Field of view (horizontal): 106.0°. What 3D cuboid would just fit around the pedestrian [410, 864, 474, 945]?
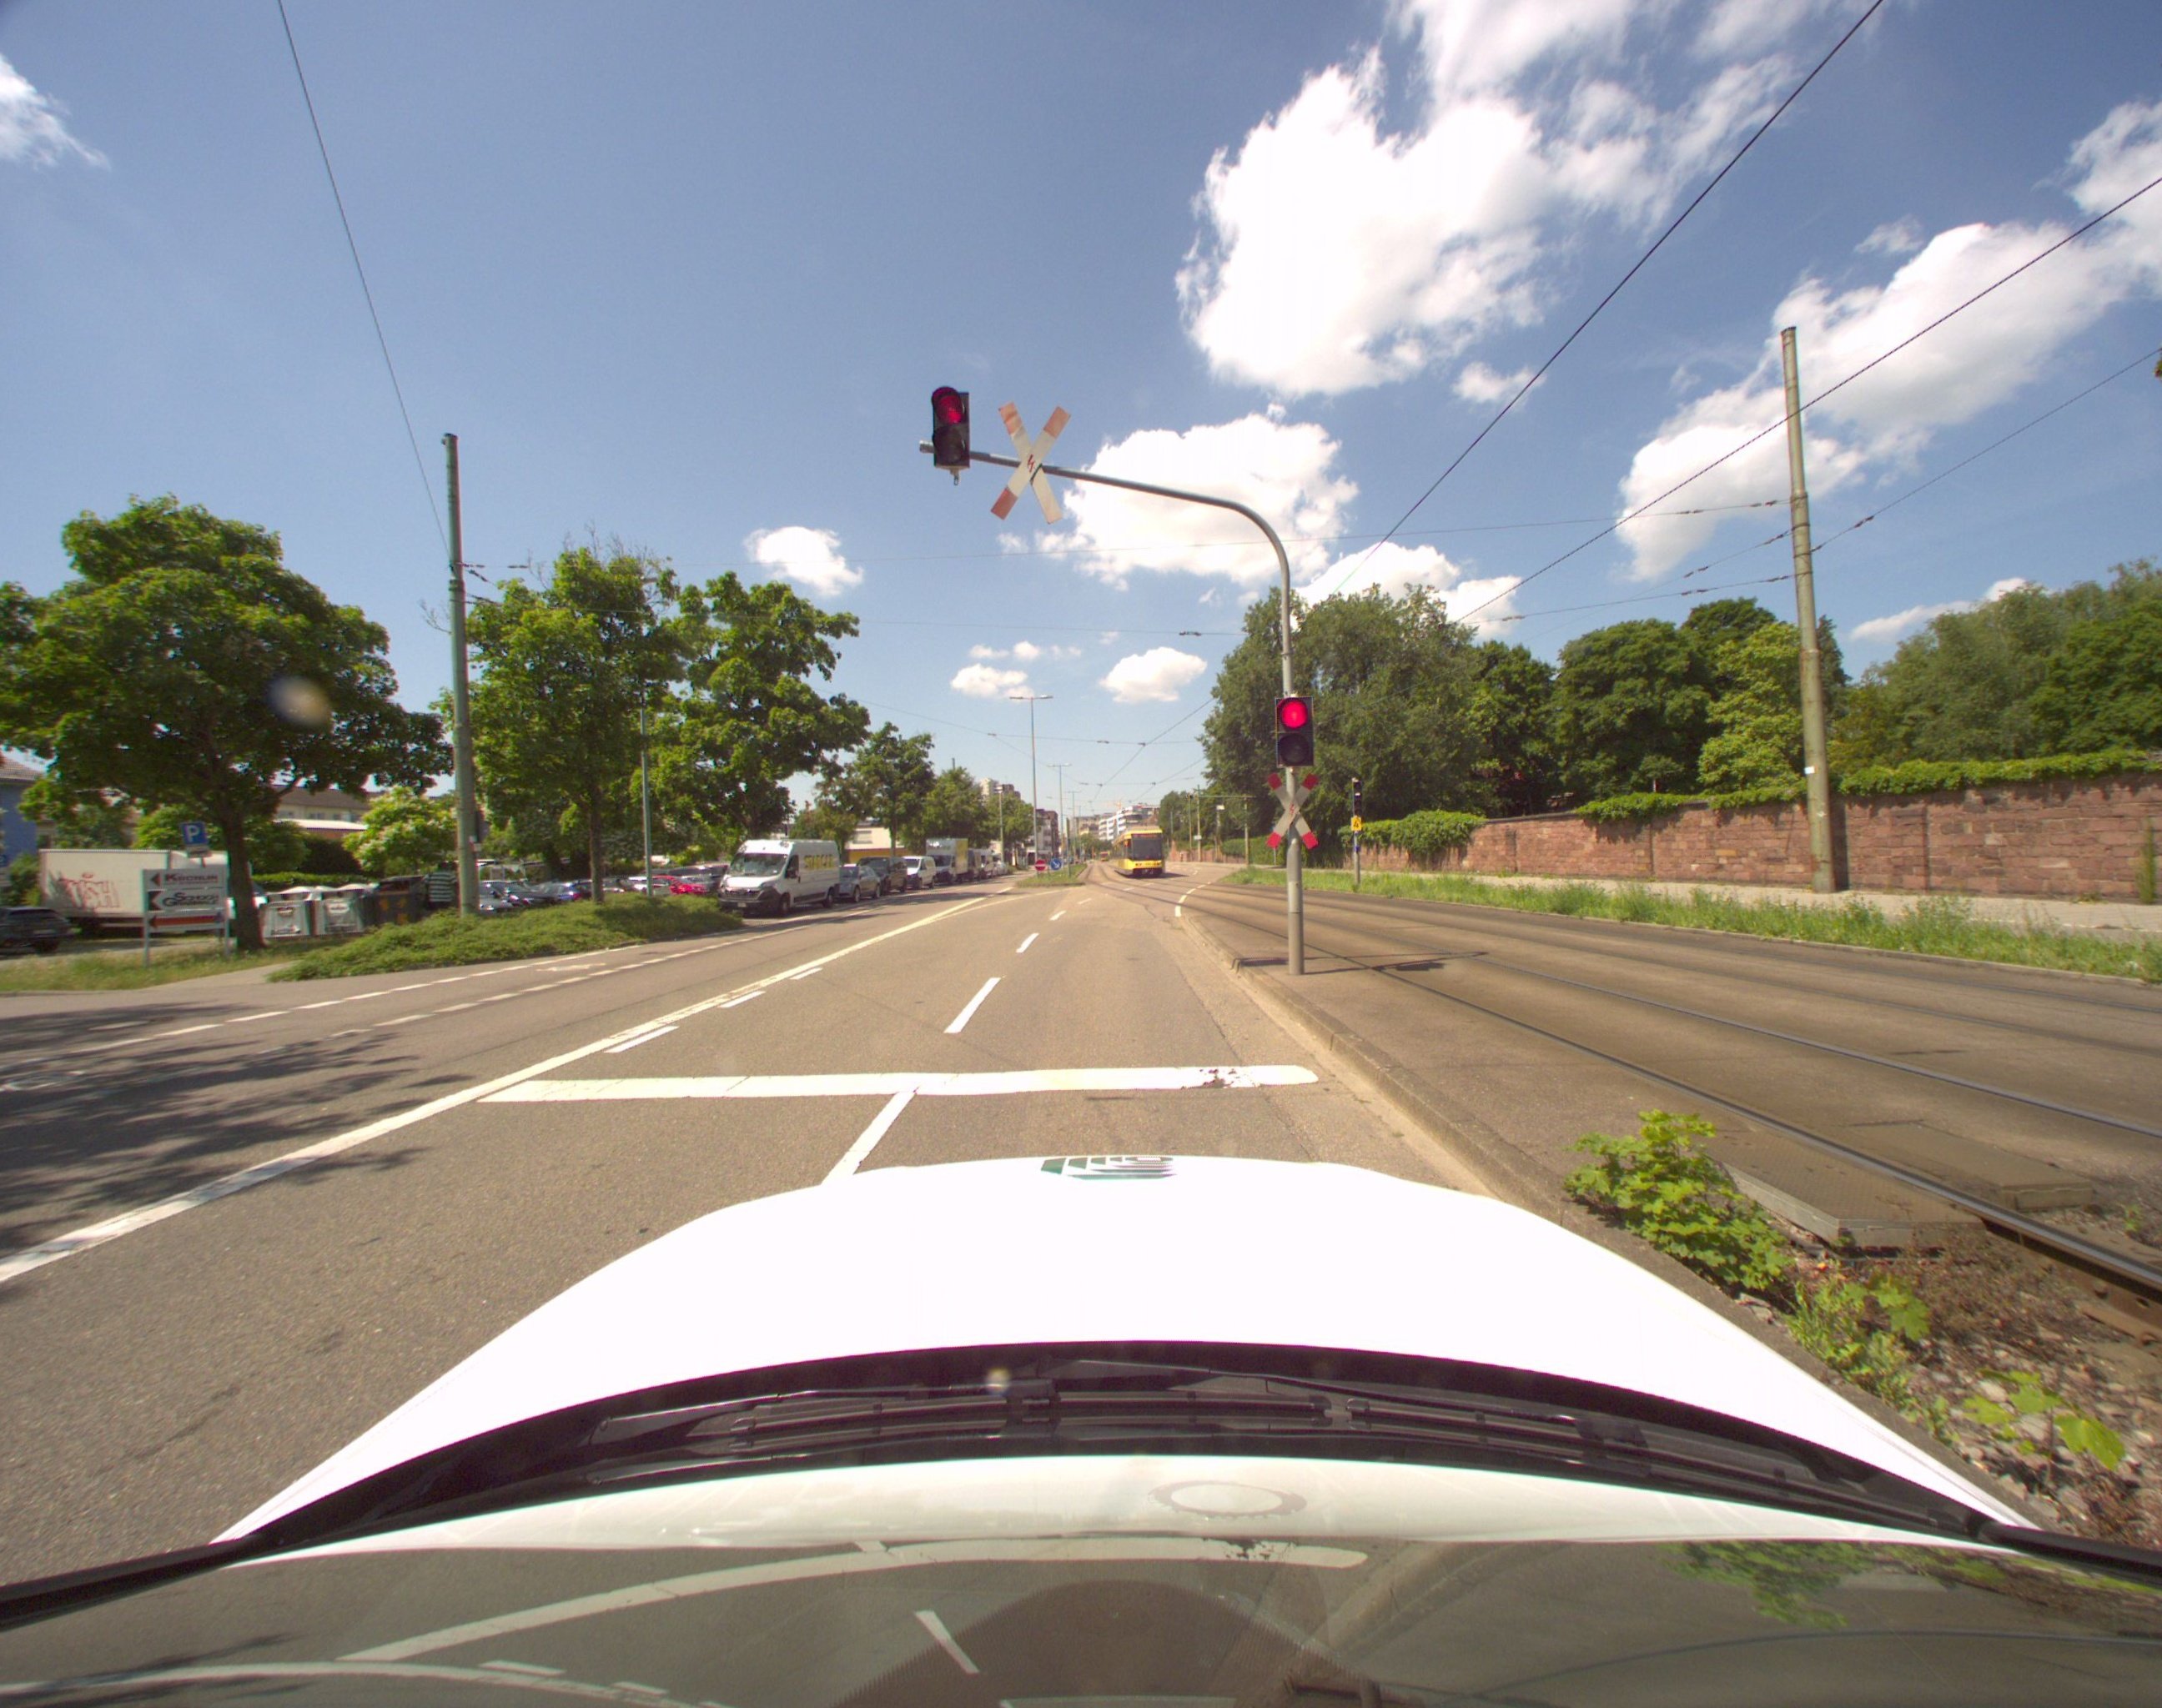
[{"bbox_3d":[-14.993,1.159,19.126,0.979,1.823,0.788,-2,0,-26],"label":"pedestrian"}]

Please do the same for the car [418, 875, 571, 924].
[{"bbox_3d":[-20.516,1.572,28.601,3.974,1.442,1.805,-2,0,-1],"label":"car"}]

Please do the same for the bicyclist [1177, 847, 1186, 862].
[{"bbox_3d":[14.865,0.060,120.406,1.092,2.108,1.031,-1,-1,1],"label":"bicyclist"}]

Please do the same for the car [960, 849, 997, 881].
[{"bbox_3d":[-8.844,0.886,70.696,2.147,2.639,5.616,1,0,3],"label":"car"}]

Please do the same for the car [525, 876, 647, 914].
[{"bbox_3d":[-20.880,1.719,34.488,3.974,1.339,1.805,-2,0,-1],"label":"car"}]

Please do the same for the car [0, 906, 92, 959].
[{"bbox_3d":[-32.361,2.365,24.051,3.975,1.399,1.772,-3,0,-1],"label":"car"}]

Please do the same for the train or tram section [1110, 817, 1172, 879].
[{"bbox_3d":[3.970,-0.368,58.919,2.934,3.692,18.383,-1,0,0],"label":"train or tram section"}]

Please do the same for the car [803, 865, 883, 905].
[{"bbox_3d":[-9.836,1.253,33.998,1.862,1.437,4.344,-2,0,2],"label":"car"}]

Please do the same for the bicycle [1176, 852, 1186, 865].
[{"bbox_3d":[14.827,0.618,120.491,1.088,1.908,3.683,-2,0,2],"label":"bicycle"}]

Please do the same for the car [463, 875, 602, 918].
[{"bbox_3d":[-20.819,1.595,31.026,3.974,1.339,1.805,-2,0,-1],"label":"car"}]

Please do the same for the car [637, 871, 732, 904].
[{"bbox_3d":[-20.508,1.726,42.269,3.974,1.442,1.805,-3,0,0],"label":"car"}]

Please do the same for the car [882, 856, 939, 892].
[{"bbox_3d":[-9.830,1.116,47.309,2.053,1.898,4.873,-2,0,2],"label":"car"}]

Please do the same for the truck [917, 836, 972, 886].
[{"bbox_3d":[-9.277,0.446,55.922,2.147,3.210,7.088,1,0,3],"label":"truck"}]

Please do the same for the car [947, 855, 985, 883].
[{"bbox_3d":[-8.899,1.150,63.421,2.053,1.977,4.873,-2,0,2],"label":"car"}]

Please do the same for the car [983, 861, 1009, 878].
[{"bbox_3d":[-8.791,1.604,84.765,2.053,1.582,4.873,-2,0,2],"label":"car"}]

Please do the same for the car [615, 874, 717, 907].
[{"bbox_3d":[-20.184,1.751,39.718,3.974,1.339,1.805,-2,0,-1],"label":"car"}]

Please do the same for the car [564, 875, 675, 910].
[{"bbox_3d":[-20.986,1.737,37.127,3.974,1.339,1.805,-2,0,-1],"label":"car"}]

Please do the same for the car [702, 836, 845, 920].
[{"bbox_3d":[-10.230,0.724,27.770,2.147,2.487,6.198,1,0,3],"label":"car"}]

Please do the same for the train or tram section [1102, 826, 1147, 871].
[{"bbox_3d":[3.913,-0.440,78.133,2.934,3.692,20.276,-1,0,-1],"label":"train or tram section"}]

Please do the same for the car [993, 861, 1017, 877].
[{"bbox_3d":[-8.571,1.668,92.176,2.053,1.582,4.873,-2,0,2],"label":"car"}]

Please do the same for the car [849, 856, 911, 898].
[{"bbox_3d":[-9.956,1.109,40.695,1.862,1.895,4.272,-2,0,2],"label":"car"}]

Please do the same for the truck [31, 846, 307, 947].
[{"bbox_3d":[-33.152,1.499,29.796,7.167,3.228,2.331,-2,0,-2],"label":"truck"}]
